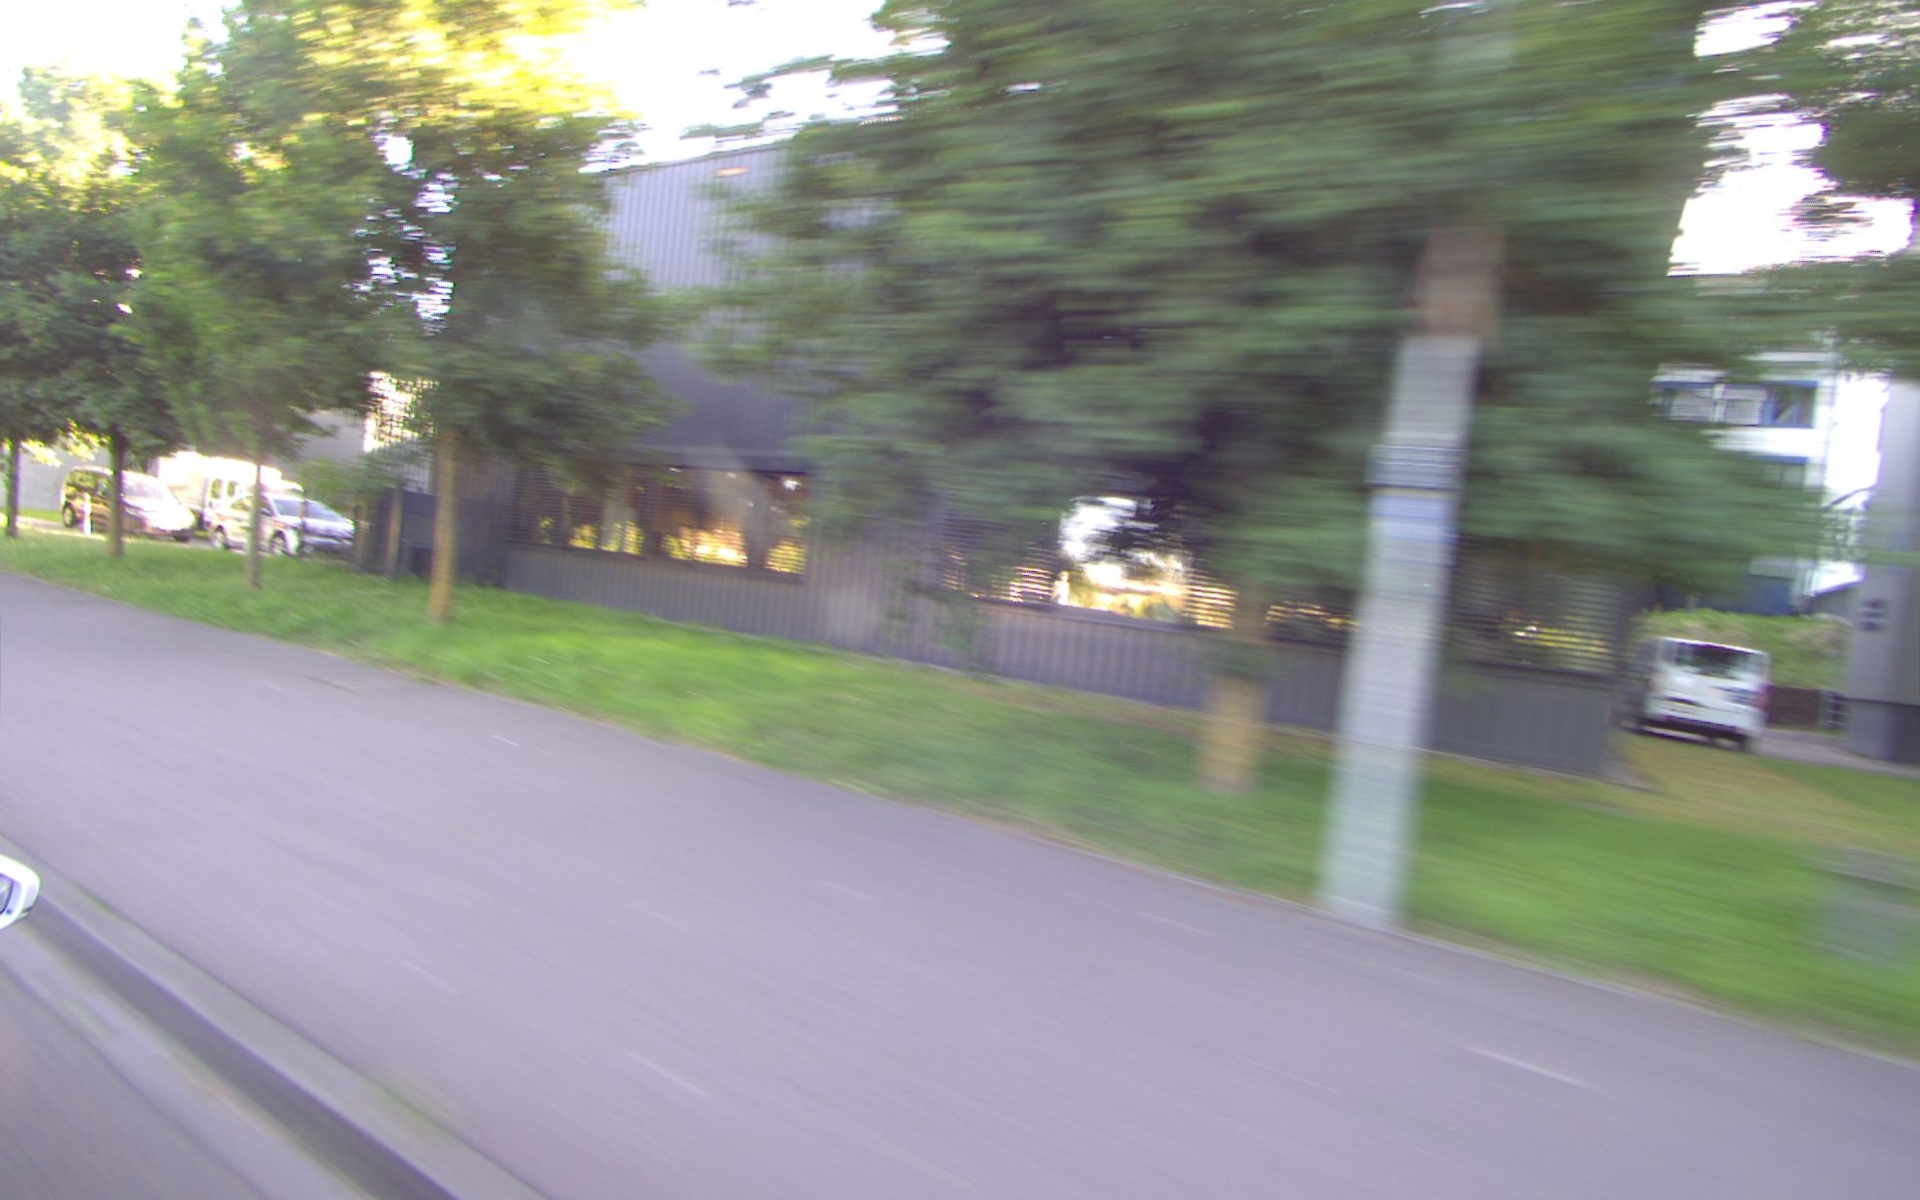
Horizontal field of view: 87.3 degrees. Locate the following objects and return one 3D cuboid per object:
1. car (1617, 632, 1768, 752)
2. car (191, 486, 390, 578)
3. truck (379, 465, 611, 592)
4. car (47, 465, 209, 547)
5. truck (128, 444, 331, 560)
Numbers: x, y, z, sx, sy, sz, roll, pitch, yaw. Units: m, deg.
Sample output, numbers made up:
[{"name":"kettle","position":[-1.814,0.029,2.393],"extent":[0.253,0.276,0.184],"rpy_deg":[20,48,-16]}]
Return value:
[{"name":"car","position":[15.148,1.922,21.041],"extent":[1.967,2.037,3.995],"rpy_deg":[7,-2,31]},{"name":"car","position":[-14.735,-1.503,22.122],"extent":[4.206,1.484,1.839],"rpy_deg":[6,-2,30]},{"name":"truck","position":[-12.440,-1.950,26.735],"extent":[6.295,2.709,2.285],"rpy_deg":[6,-1,32]},{"name":"car","position":[-24.265,-2.747,29.308],"extent":[4.584,1.836,1.840],"rpy_deg":[7,-1,27]},{"name":"truck","position":[-23.643,-3.190,32.497],"extent":[6.632,2.871,2.365],"rpy_deg":[7,-1,27]}]
